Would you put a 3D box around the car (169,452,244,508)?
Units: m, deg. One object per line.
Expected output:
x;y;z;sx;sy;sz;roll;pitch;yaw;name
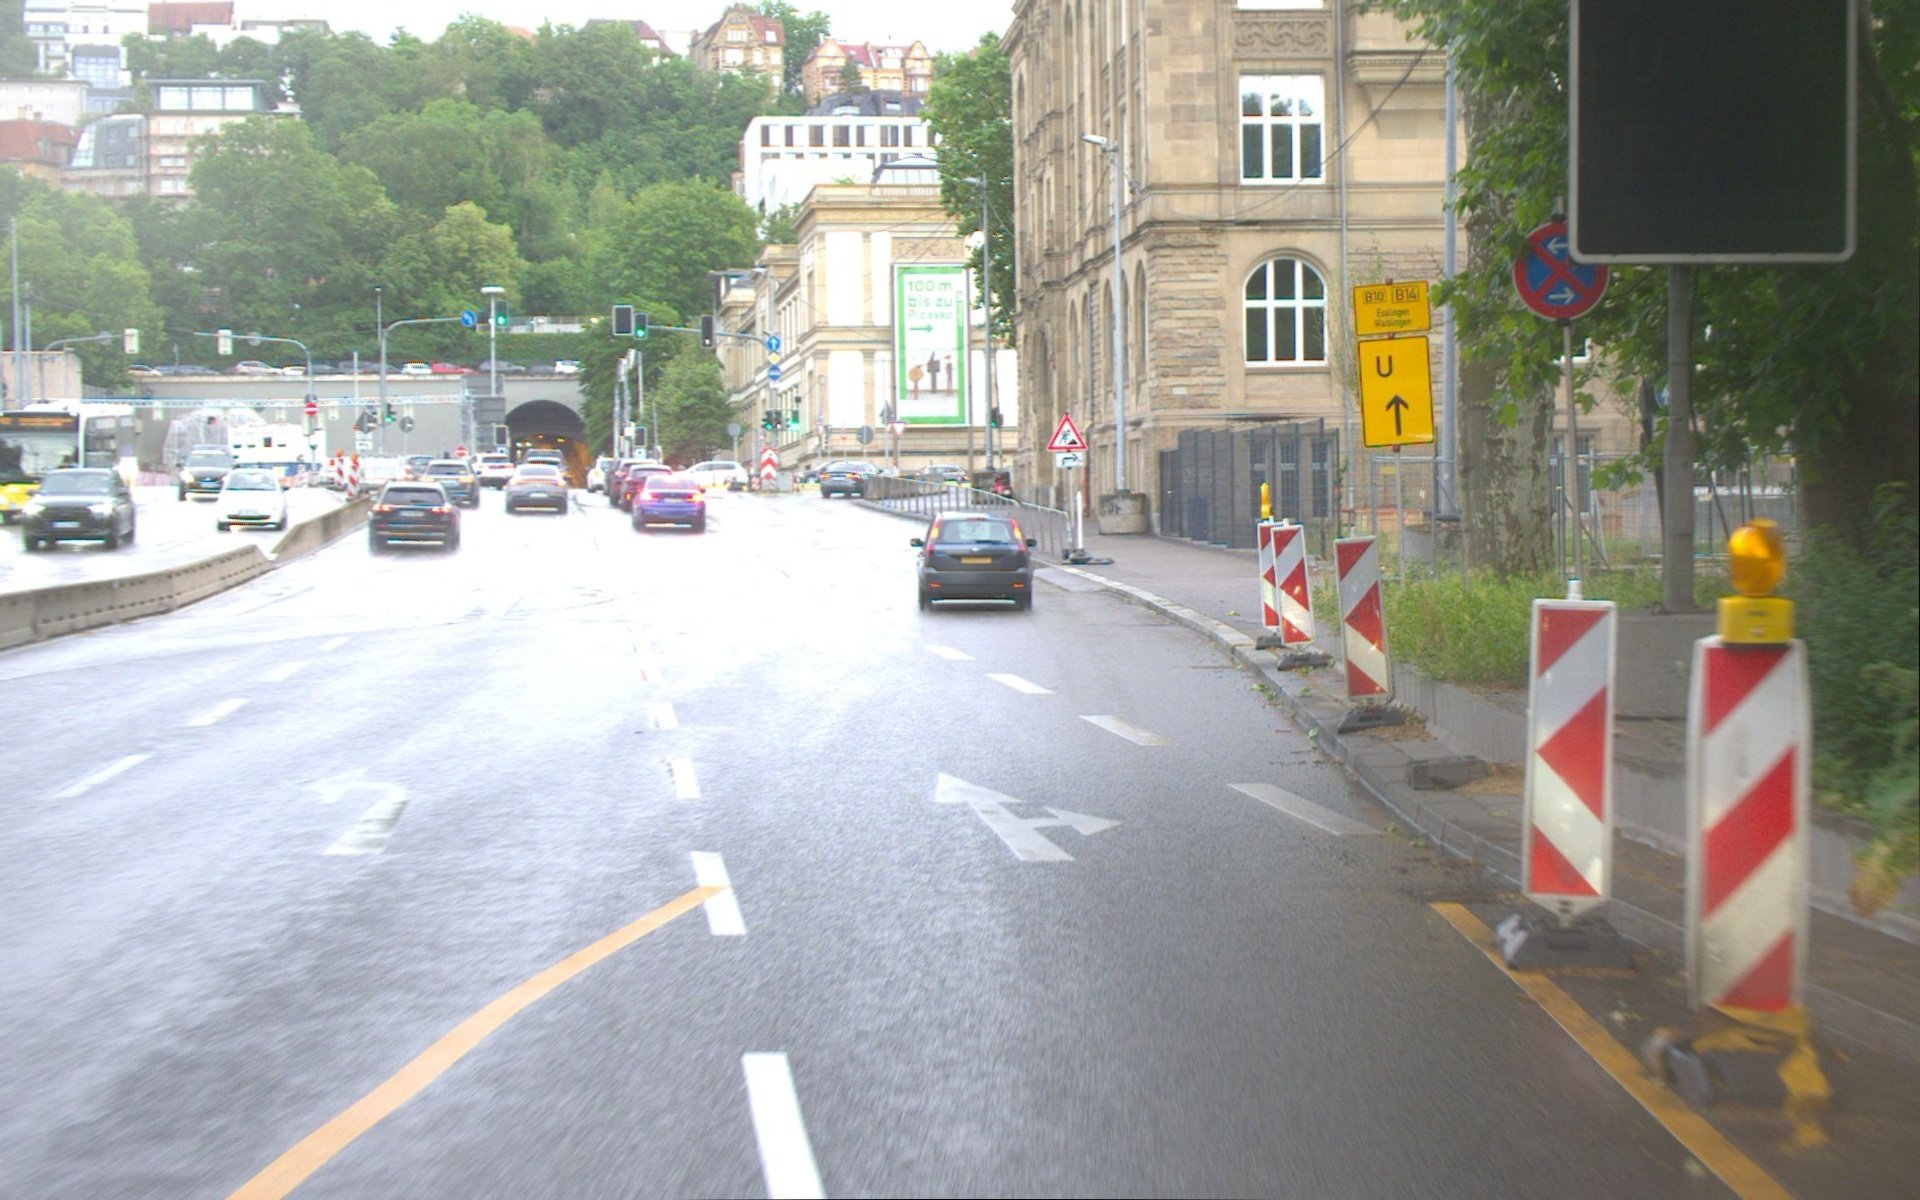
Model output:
-24.461;-3.872;111.787;2.038;1.656;4.934;-1;1;-9;car

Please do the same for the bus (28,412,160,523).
-25.882;-3.925;103.092;2.702;3.140;9.153;-1;2;-7;bus

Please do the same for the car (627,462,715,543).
-7.678;-2.560;90.985;2.104;2.043;4.001;-1;1;-7;car

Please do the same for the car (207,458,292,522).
-17.904;-2.764;86.707;1.709;1.484;3.451;-1;1;-6;car

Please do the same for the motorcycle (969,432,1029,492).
1.315;-4.760;118.101;1.795;2.006;3.814;-1;3;-3;motorcycle

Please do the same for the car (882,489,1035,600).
-0.067;-0.816;50.843;1.812;1.521;4.001;-2;1;-6;car

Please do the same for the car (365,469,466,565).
-11.953;-1.798;75.690;2.016;2.007;4.001;-1;1;-7;car

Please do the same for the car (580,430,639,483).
-14.131;-5.765;138.525;1.993;2.007;4.001;-2;1;-10;car

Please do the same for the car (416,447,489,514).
-16.172;-3.793;109.756;1.993;2.007;4.001;-1;1;-5;car

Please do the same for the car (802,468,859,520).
-5.055;-4.146;134.511;1.993;2.006;4.000;0;2;1;car

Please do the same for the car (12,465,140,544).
-19.222;-2.106;74.945;2.081;1.625;4.854;-1;2;-7;car

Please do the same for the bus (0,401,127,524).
-24.777;-3.692;94.119;2.805;3.173;8.810;-1;2;-7;bus

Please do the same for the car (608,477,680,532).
-10.043;-3.038;109.203;1.993;1.693;4.001;-1;1;-9;car

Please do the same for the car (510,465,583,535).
-12.644;-3.035;104.959;2.051;2.007;4.001;-1;1;-8;car

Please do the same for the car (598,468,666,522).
-11.042;-3.510;115.657;1.993;1.693;4.001;-1;1;-9;car

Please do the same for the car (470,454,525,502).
-20.822;-5.486;154.725;2.292;2.007;4.605;-1;1;-9;car
